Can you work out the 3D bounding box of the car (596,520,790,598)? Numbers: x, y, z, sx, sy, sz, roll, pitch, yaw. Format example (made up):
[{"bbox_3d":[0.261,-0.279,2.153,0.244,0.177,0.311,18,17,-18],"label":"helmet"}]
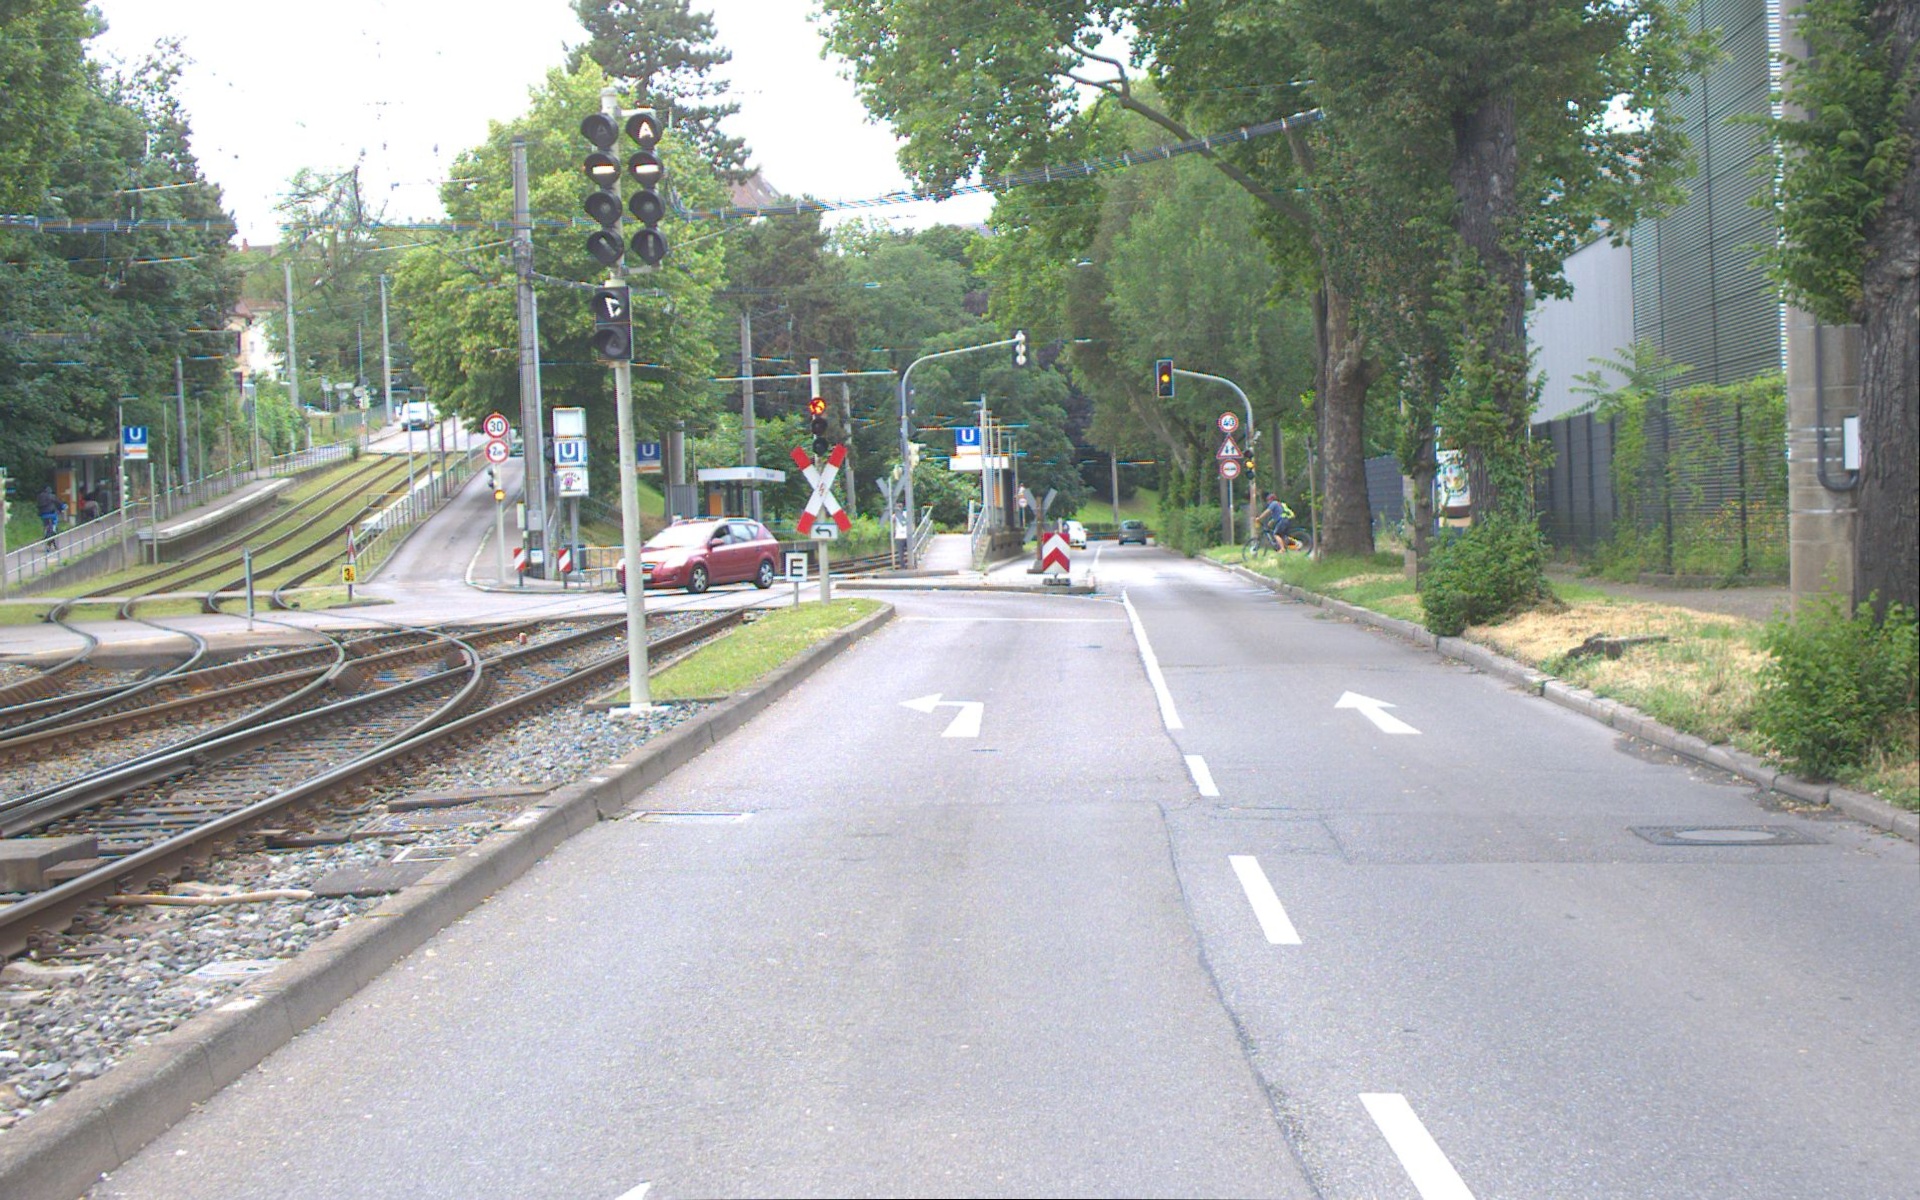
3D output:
[{"bbox_3d":[-5.475,-0.871,71.086,1.996,1.510,4.495,-1,1,25],"label":"car"}]

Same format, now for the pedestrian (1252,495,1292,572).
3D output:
[{"bbox_3d":[8.278,-1.774,91.268,0.931,2.007,0.668,-2,1,9],"label":"pedestrian"}]

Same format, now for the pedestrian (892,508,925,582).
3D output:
[{"bbox_3d":[-1.317,-1.405,87.918,0.768,1.846,0.910,-2,1,-1],"label":"pedestrian"}]

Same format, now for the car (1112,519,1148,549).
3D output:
[{"bbox_3d":[11.050,-4.286,223.481,1.993,1.809,4.001,-2,1,-2],"label":"car"}]

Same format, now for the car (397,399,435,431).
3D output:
[{"bbox_3d":[-37.502,-12.754,237.128,1.993,2.007,4.001,-3,1,-2],"label":"car"}]

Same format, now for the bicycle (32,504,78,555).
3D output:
[{"bbox_3d":[-26.715,-2.101,101.544,0.824,1.338,2.998,-3,4,-6],"label":"bicycle"}]

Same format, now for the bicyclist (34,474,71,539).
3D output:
[{"bbox_3d":[-26.724,-2.765,101.243,0.821,1.842,1.052,-2,4,-6],"label":"bicyclist"}]

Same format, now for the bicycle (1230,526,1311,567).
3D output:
[{"bbox_3d":[8.247,-1.423,91.260,2.075,1.003,0.668,-2,1,9],"label":"bicycle"}]
